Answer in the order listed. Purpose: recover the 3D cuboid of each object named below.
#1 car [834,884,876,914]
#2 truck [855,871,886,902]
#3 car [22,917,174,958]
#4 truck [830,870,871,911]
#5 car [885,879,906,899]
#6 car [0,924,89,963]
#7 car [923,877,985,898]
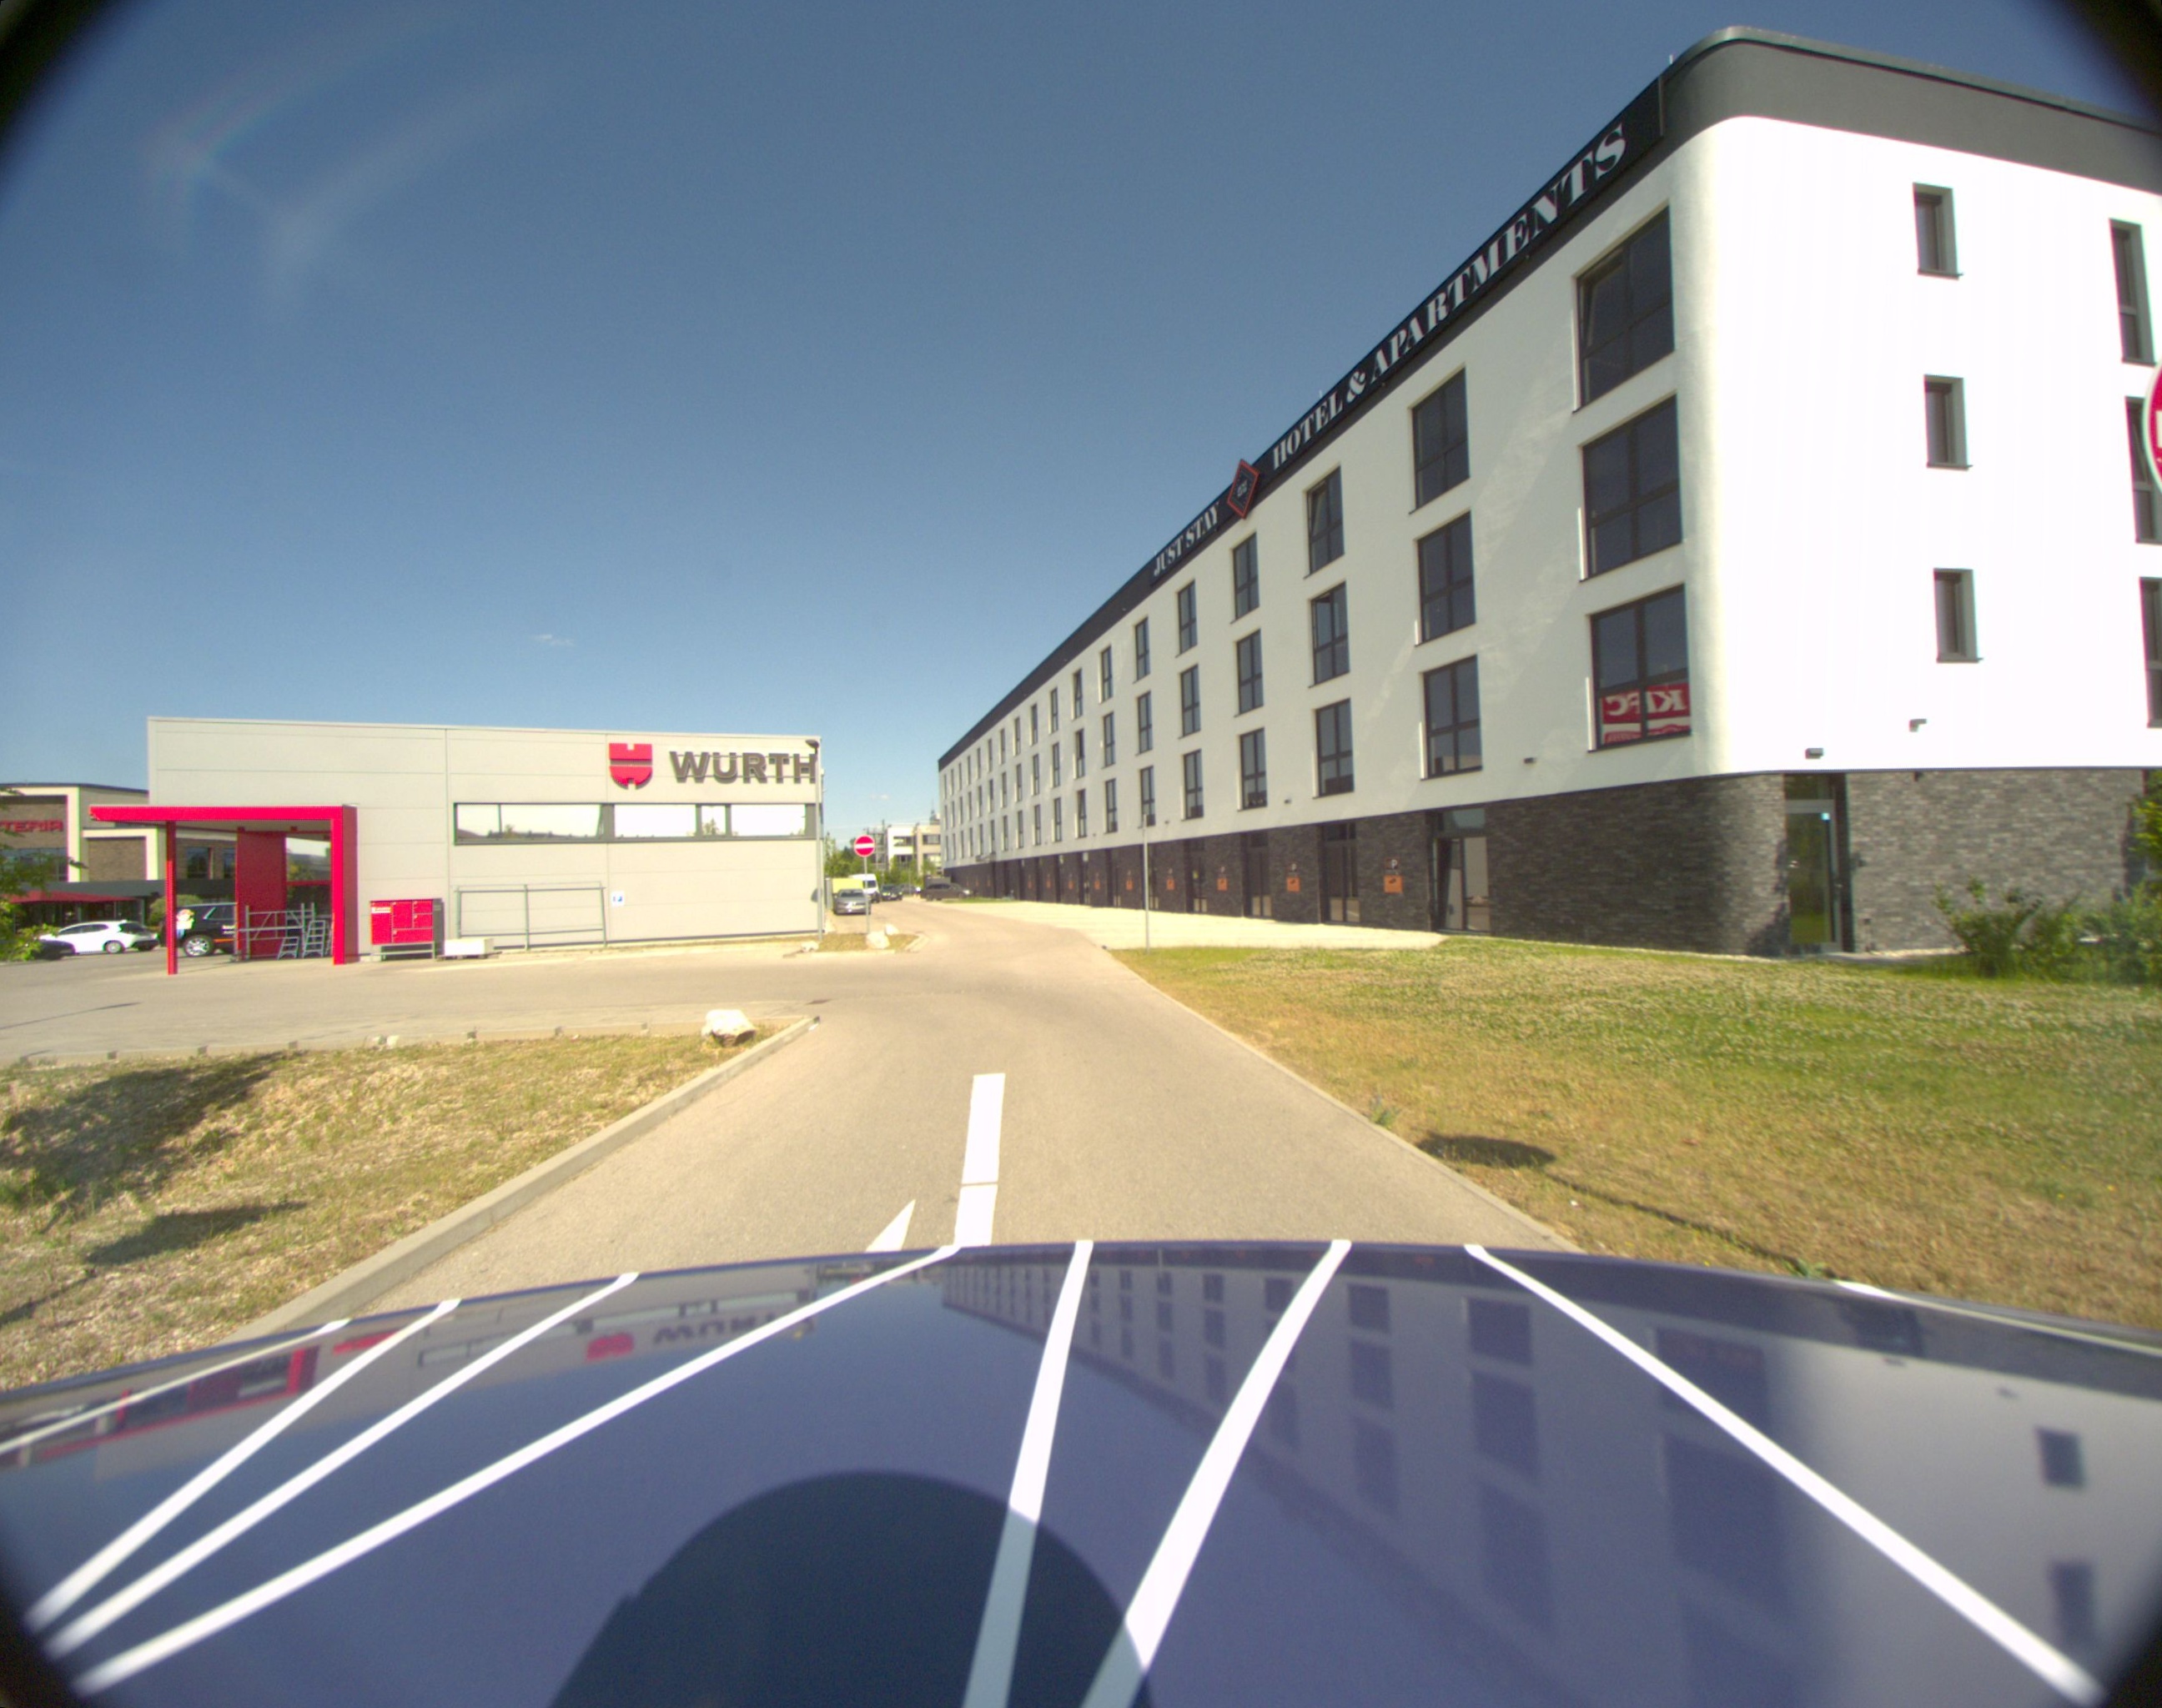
[{"bbox_3d":[-12.721,2.481,42.601,1.881,1.499,3.994,-2,-1,-22],"label":"car"},{"bbox_3d":[-17.879,2.726,64.423,2.002,2.362,5.882,-2,-1,-20],"label":"truck"},{"bbox_3d":[-44.836,3.790,34.771,3.916,1.465,1.801,-2,-1,-16],"label":"car"},{"bbox_3d":[-14.886,2.323,48.910,2.125,2.362,5.882,-2,-1,-20],"label":"truck"},{"bbox_3d":[-16.660,3.141,68.005,1.719,1.608,3.995,-2,0,-15],"label":"car"},{"bbox_3d":[-43.179,3.656,30.209,4.158,1.329,1.828,-2,-1,-21],"label":"car"},{"bbox_3d":[-10.152,2.678,60.815,4.516,1.499,1.882,-3,-1,16],"label":"car"}]
